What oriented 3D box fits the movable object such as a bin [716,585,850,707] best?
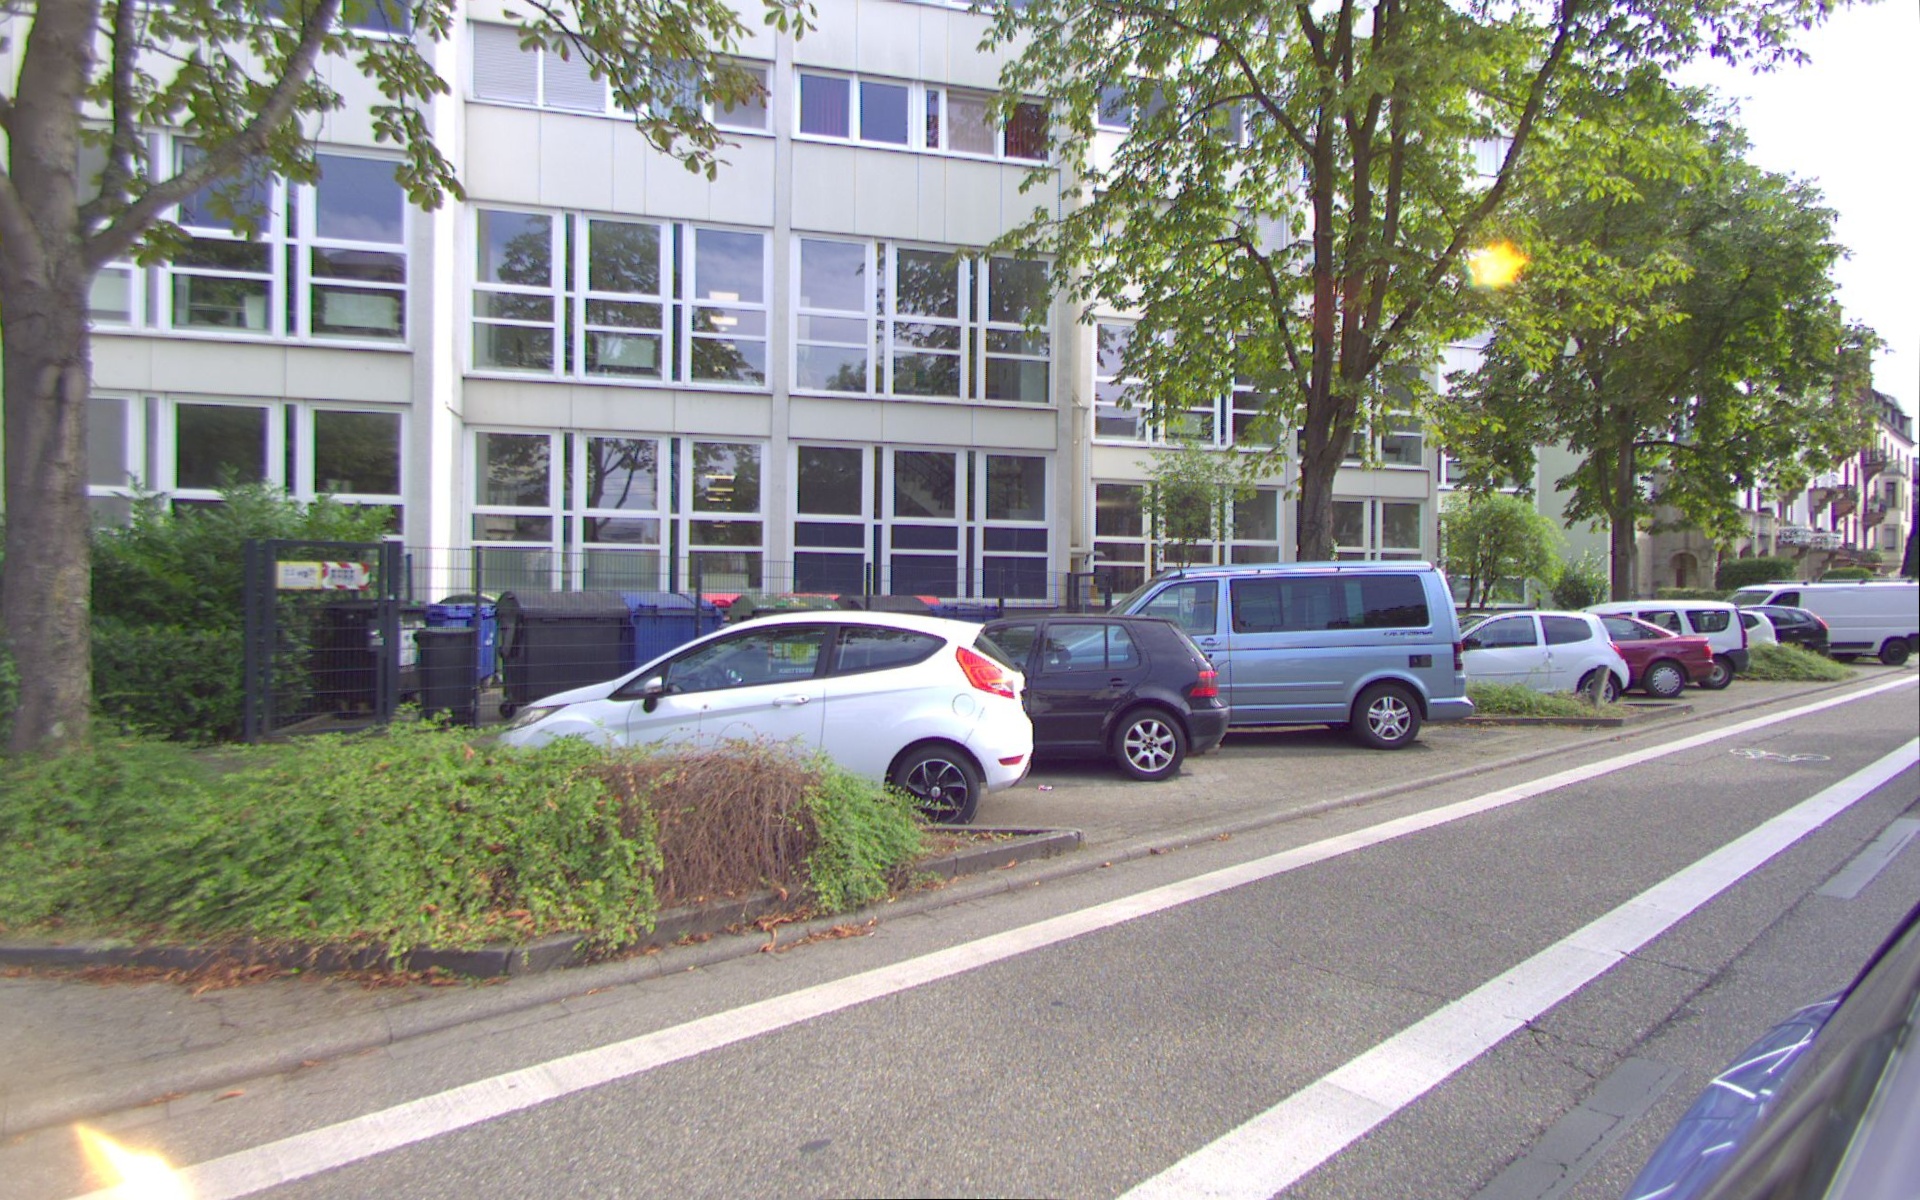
[{"bbox_3d":[-2.386,0.572,13.616,1.328,1.521,1.335,0,0,-36],"label":"movable object such as a bin"}]

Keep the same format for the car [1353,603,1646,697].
[{"bbox_3d":[8.246,0.728,15.745,3.580,1.347,1.766,0,0,5],"label":"car"}]

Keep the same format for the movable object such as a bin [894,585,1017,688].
[{"bbox_3d":[-0.076,0.526,15.492,1.374,1.477,1.335,0,0,-36],"label":"movable object such as a bin"}]

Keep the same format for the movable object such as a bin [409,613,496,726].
[{"bbox_3d":[-5.382,0.710,10.725,0.729,1.119,0.786,0,0,-34],"label":"movable object such as a bin"}]

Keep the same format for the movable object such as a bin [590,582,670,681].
[{"bbox_3d":[-5.490,0.497,16.912,1.150,1.588,1.182,0,0,-12],"label":"movable object such as a bin"}]

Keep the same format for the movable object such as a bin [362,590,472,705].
[{"bbox_3d":[-7.022,0.582,13.155,1.095,1.409,1.065,0,0,-19],"label":"movable object such as a bin"}]

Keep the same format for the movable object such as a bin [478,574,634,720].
[{"bbox_3d":[-4.685,0.494,11.712,1.389,1.549,1.330,0,0,-36],"label":"movable object such as a bin"}]

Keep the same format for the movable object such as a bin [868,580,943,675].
[{"bbox_3d":[-0.969,0.461,17.751,1.150,1.588,1.182,0,0,-12],"label":"movable object such as a bin"}]

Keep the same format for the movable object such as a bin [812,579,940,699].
[{"bbox_3d":[-1.213,0.517,14.471,1.328,1.616,1.335,0,0,-36],"label":"movable object such as a bin"}]

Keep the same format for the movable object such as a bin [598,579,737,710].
[{"bbox_3d":[-3.694,0.518,12.738,1.312,1.523,1.335,0,0,-36],"label":"movable object such as a bin"}]

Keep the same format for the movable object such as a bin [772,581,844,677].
[{"bbox_3d":[-2.638,0.475,17.450,1.150,1.588,1.182,0,0,-12],"label":"movable object such as a bin"}]

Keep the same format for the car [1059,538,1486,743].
[{"bbox_3d":[3.305,0.400,11.495,4.268,2.090,1.998,0,0,5],"label":"car"}]

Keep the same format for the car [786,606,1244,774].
[{"bbox_3d":[0.497,0.770,9.559,3.902,1.405,1.812,0,-1,5],"label":"car"}]

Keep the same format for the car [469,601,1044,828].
[{"bbox_3d":[-1.311,0.728,7.382,3.792,1.410,1.632,0,0,4],"label":"car"}]

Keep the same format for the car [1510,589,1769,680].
[{"bbox_3d":[13.003,0.615,19.584,3.708,1.638,1.810,0,0,9],"label":"car"}]

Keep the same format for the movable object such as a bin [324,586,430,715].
[{"bbox_3d":[-6.788,0.560,11.840,0.893,1.425,1.026,0,0,-19],"label":"movable object such as a bin"}]

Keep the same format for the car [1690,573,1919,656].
[{"bbox_3d":[23.933,0.375,28.247,5.349,2.203,2.143,0,0,9],"label":"car"}]

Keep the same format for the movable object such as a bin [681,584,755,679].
[{"bbox_3d":[-4.056,0.502,17.054,1.150,1.533,1.182,0,0,-12],"label":"movable object such as a bin"}]

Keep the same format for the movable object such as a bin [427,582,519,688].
[{"bbox_3d":[-7.573,0.518,15.816,1.155,1.588,1.177,0,0,-19],"label":"movable object such as a bin"}]

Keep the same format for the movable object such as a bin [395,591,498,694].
[{"bbox_3d":[-7.300,0.576,14.466,1.155,1.387,1.177,0,0,-19],"label":"movable object such as a bin"}]

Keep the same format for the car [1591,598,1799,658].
[{"bbox_3d":[17.388,0.634,24.082,3.580,1.347,1.766,0,0,5],"label":"car"}]

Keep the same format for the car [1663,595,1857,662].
[{"bbox_3d":[20.734,0.691,26.416,3.605,1.609,1.753,0,1,24],"label":"car"}]

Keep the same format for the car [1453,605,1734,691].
[{"bbox_3d":[10.884,0.787,17.646,3.708,1.355,1.810,0,1,9],"label":"car"}]
